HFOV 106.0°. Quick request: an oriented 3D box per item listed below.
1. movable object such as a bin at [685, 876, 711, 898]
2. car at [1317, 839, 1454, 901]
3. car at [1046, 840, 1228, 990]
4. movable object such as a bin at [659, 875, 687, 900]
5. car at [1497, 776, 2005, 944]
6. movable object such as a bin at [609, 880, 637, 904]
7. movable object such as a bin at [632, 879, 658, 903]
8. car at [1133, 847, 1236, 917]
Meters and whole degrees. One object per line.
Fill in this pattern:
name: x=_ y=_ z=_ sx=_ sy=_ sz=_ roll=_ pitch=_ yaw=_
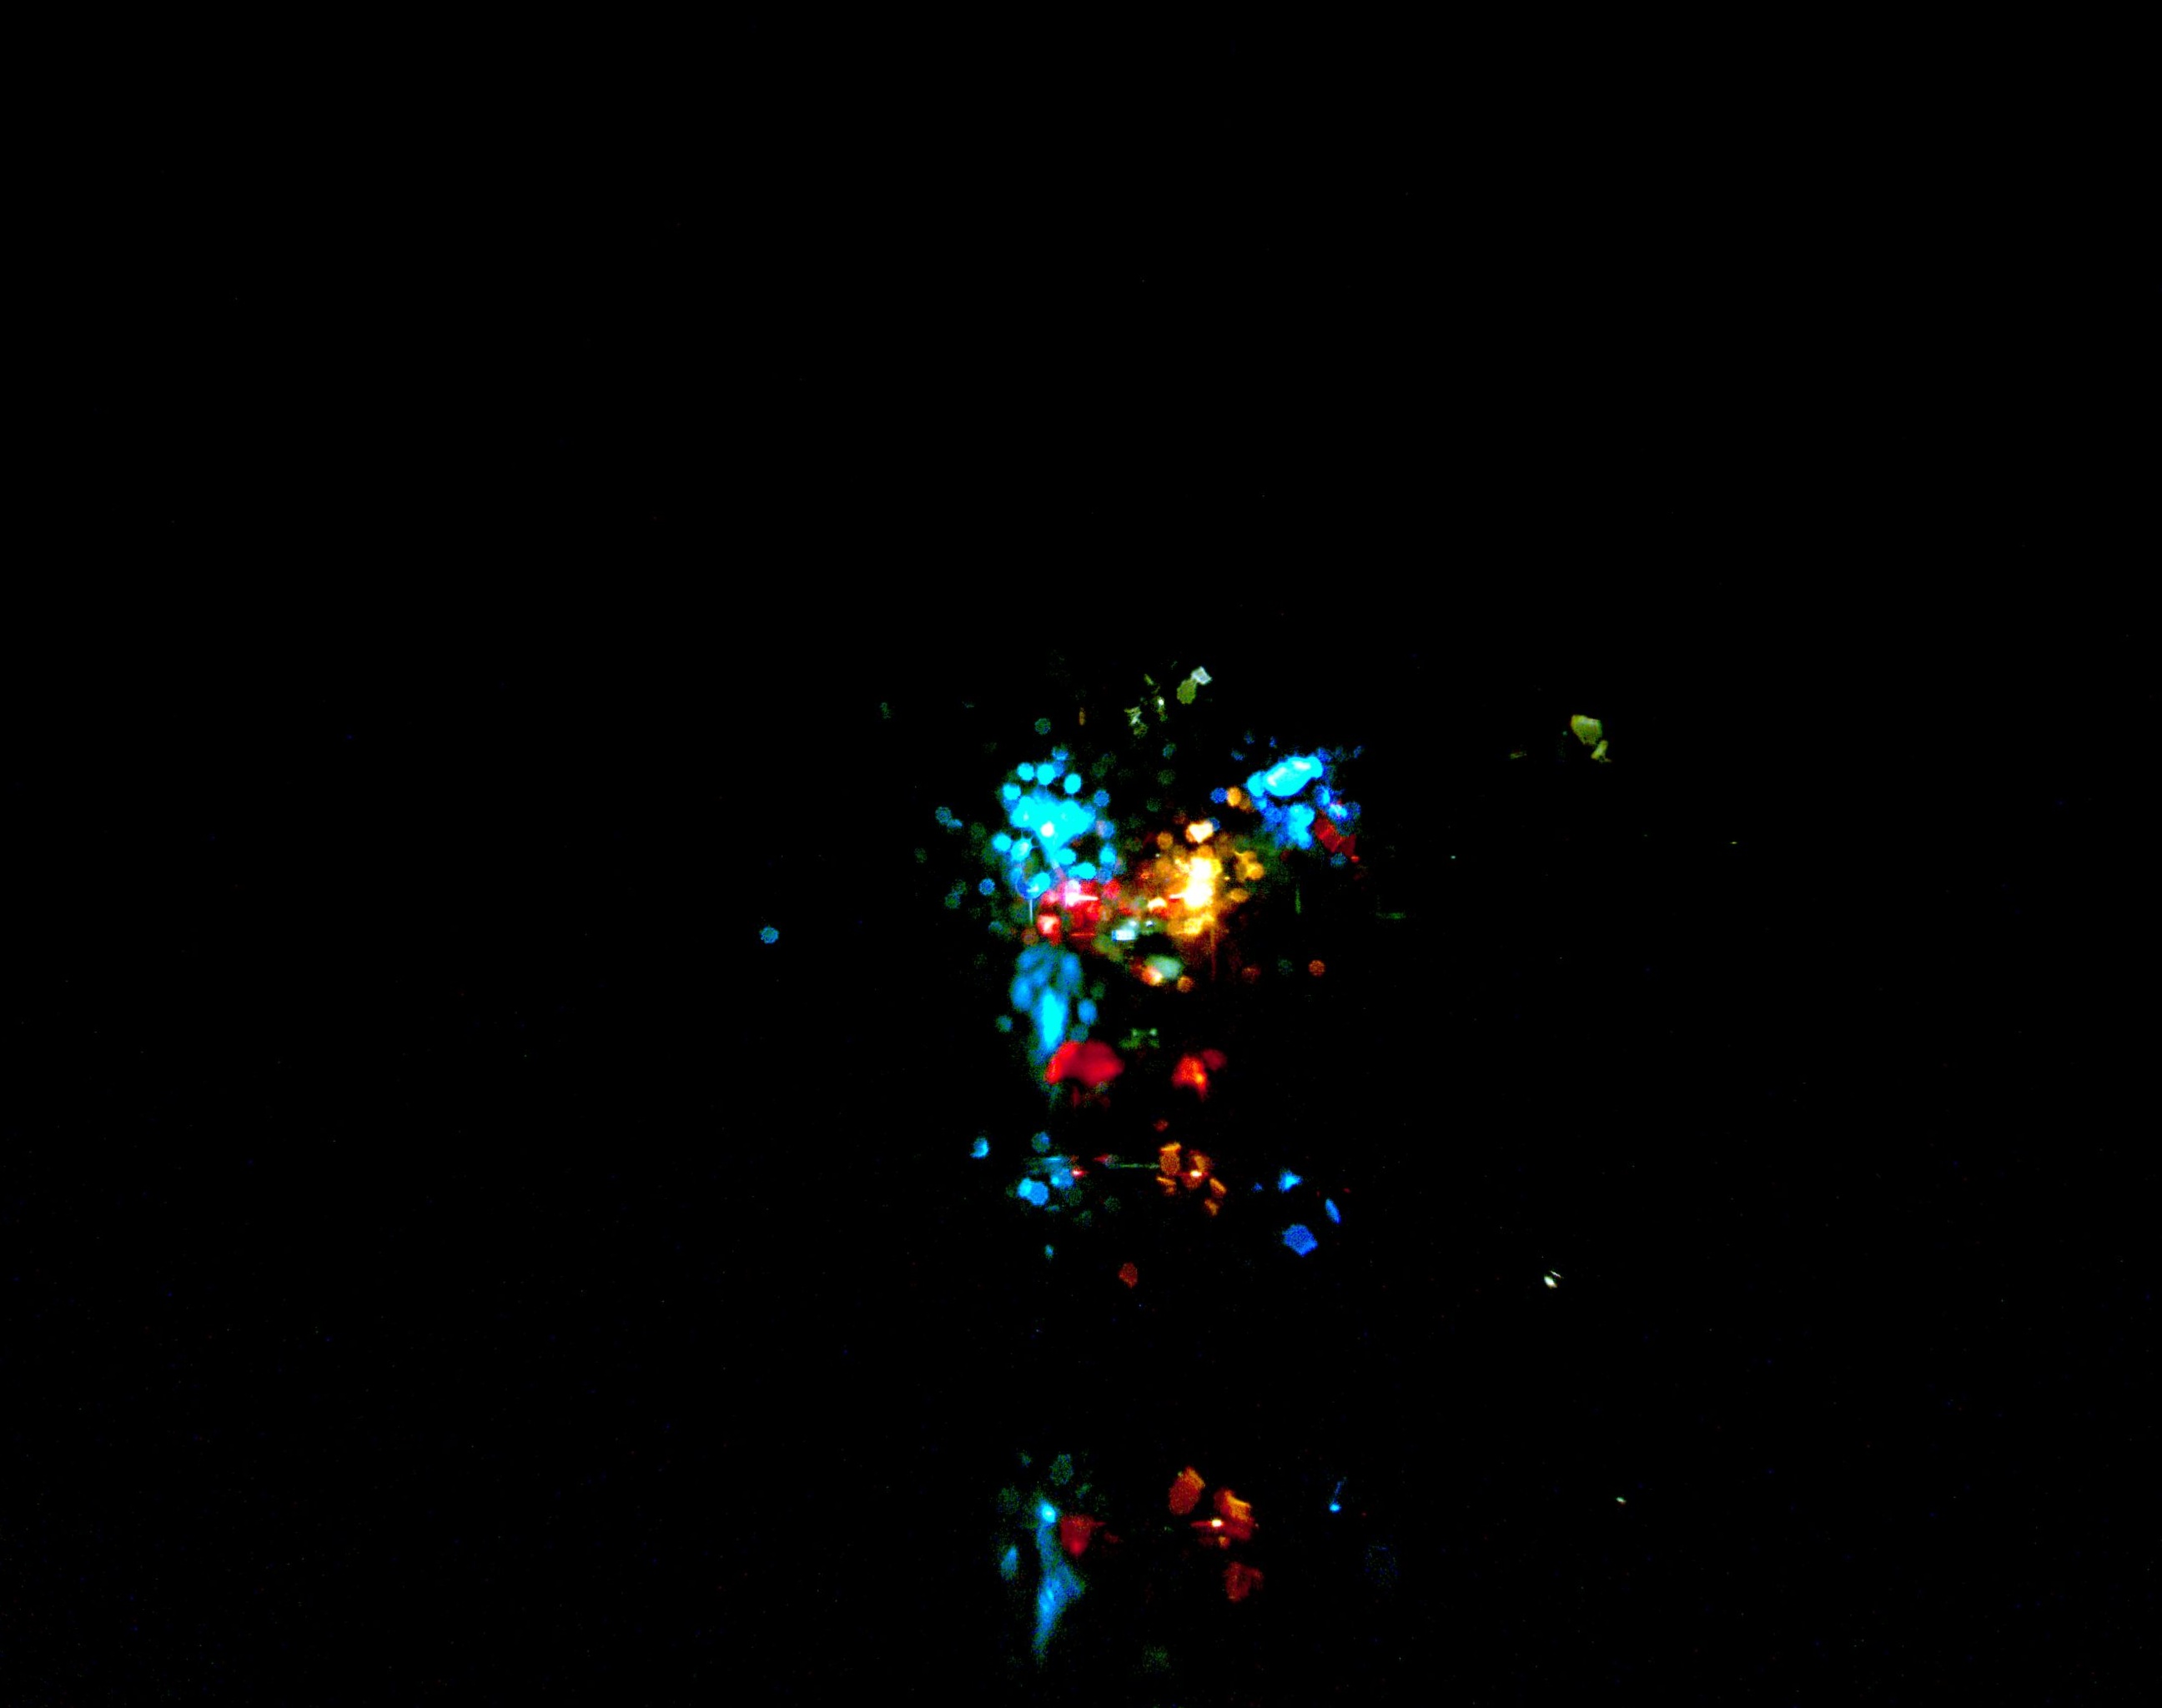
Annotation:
movable object such as a bin: x=-23.691 y=2.039 z=50.448 sx=1.318 sy=1.298 sz=1.243 roll=0 pitch=2 yaw=-19
car: x=10.493 y=0.539 z=28.094 sx=4.255 sy=1.947 sz=1.765 roll=2 pitch=1 yaw=-21
car: x=0.786 y=0.690 z=11.272 sx=2.048 sy=1.678 sz=4.144 roll=0 pitch=0 yaw=4
movable object such as a bin: x=-25.040 y=2.027 z=50.003 sx=1.391 sy=1.413 sz=1.243 roll=0 pitch=2 yaw=-20
car: x=7.910 y=0.090 z=10.141 sx=4.438 sy=1.586 sz=1.946 roll=-4 pitch=0 yaw=11
movable object such as a bin: x=-27.692 y=2.283 z=49.269 sx=1.325 sy=1.309 sz=1.166 roll=-3 pitch=1 yaw=-26
movable object such as a bin: x=-26.434 y=2.240 z=49.416 sx=1.234 sy=1.325 sz=1.144 roll=-2 pitch=0 yaw=-24
car: x=2.780 y=0.647 z=20.997 sx=1.895 sy=1.510 sz=4.260 roll=-2 pitch=1 yaw=17
